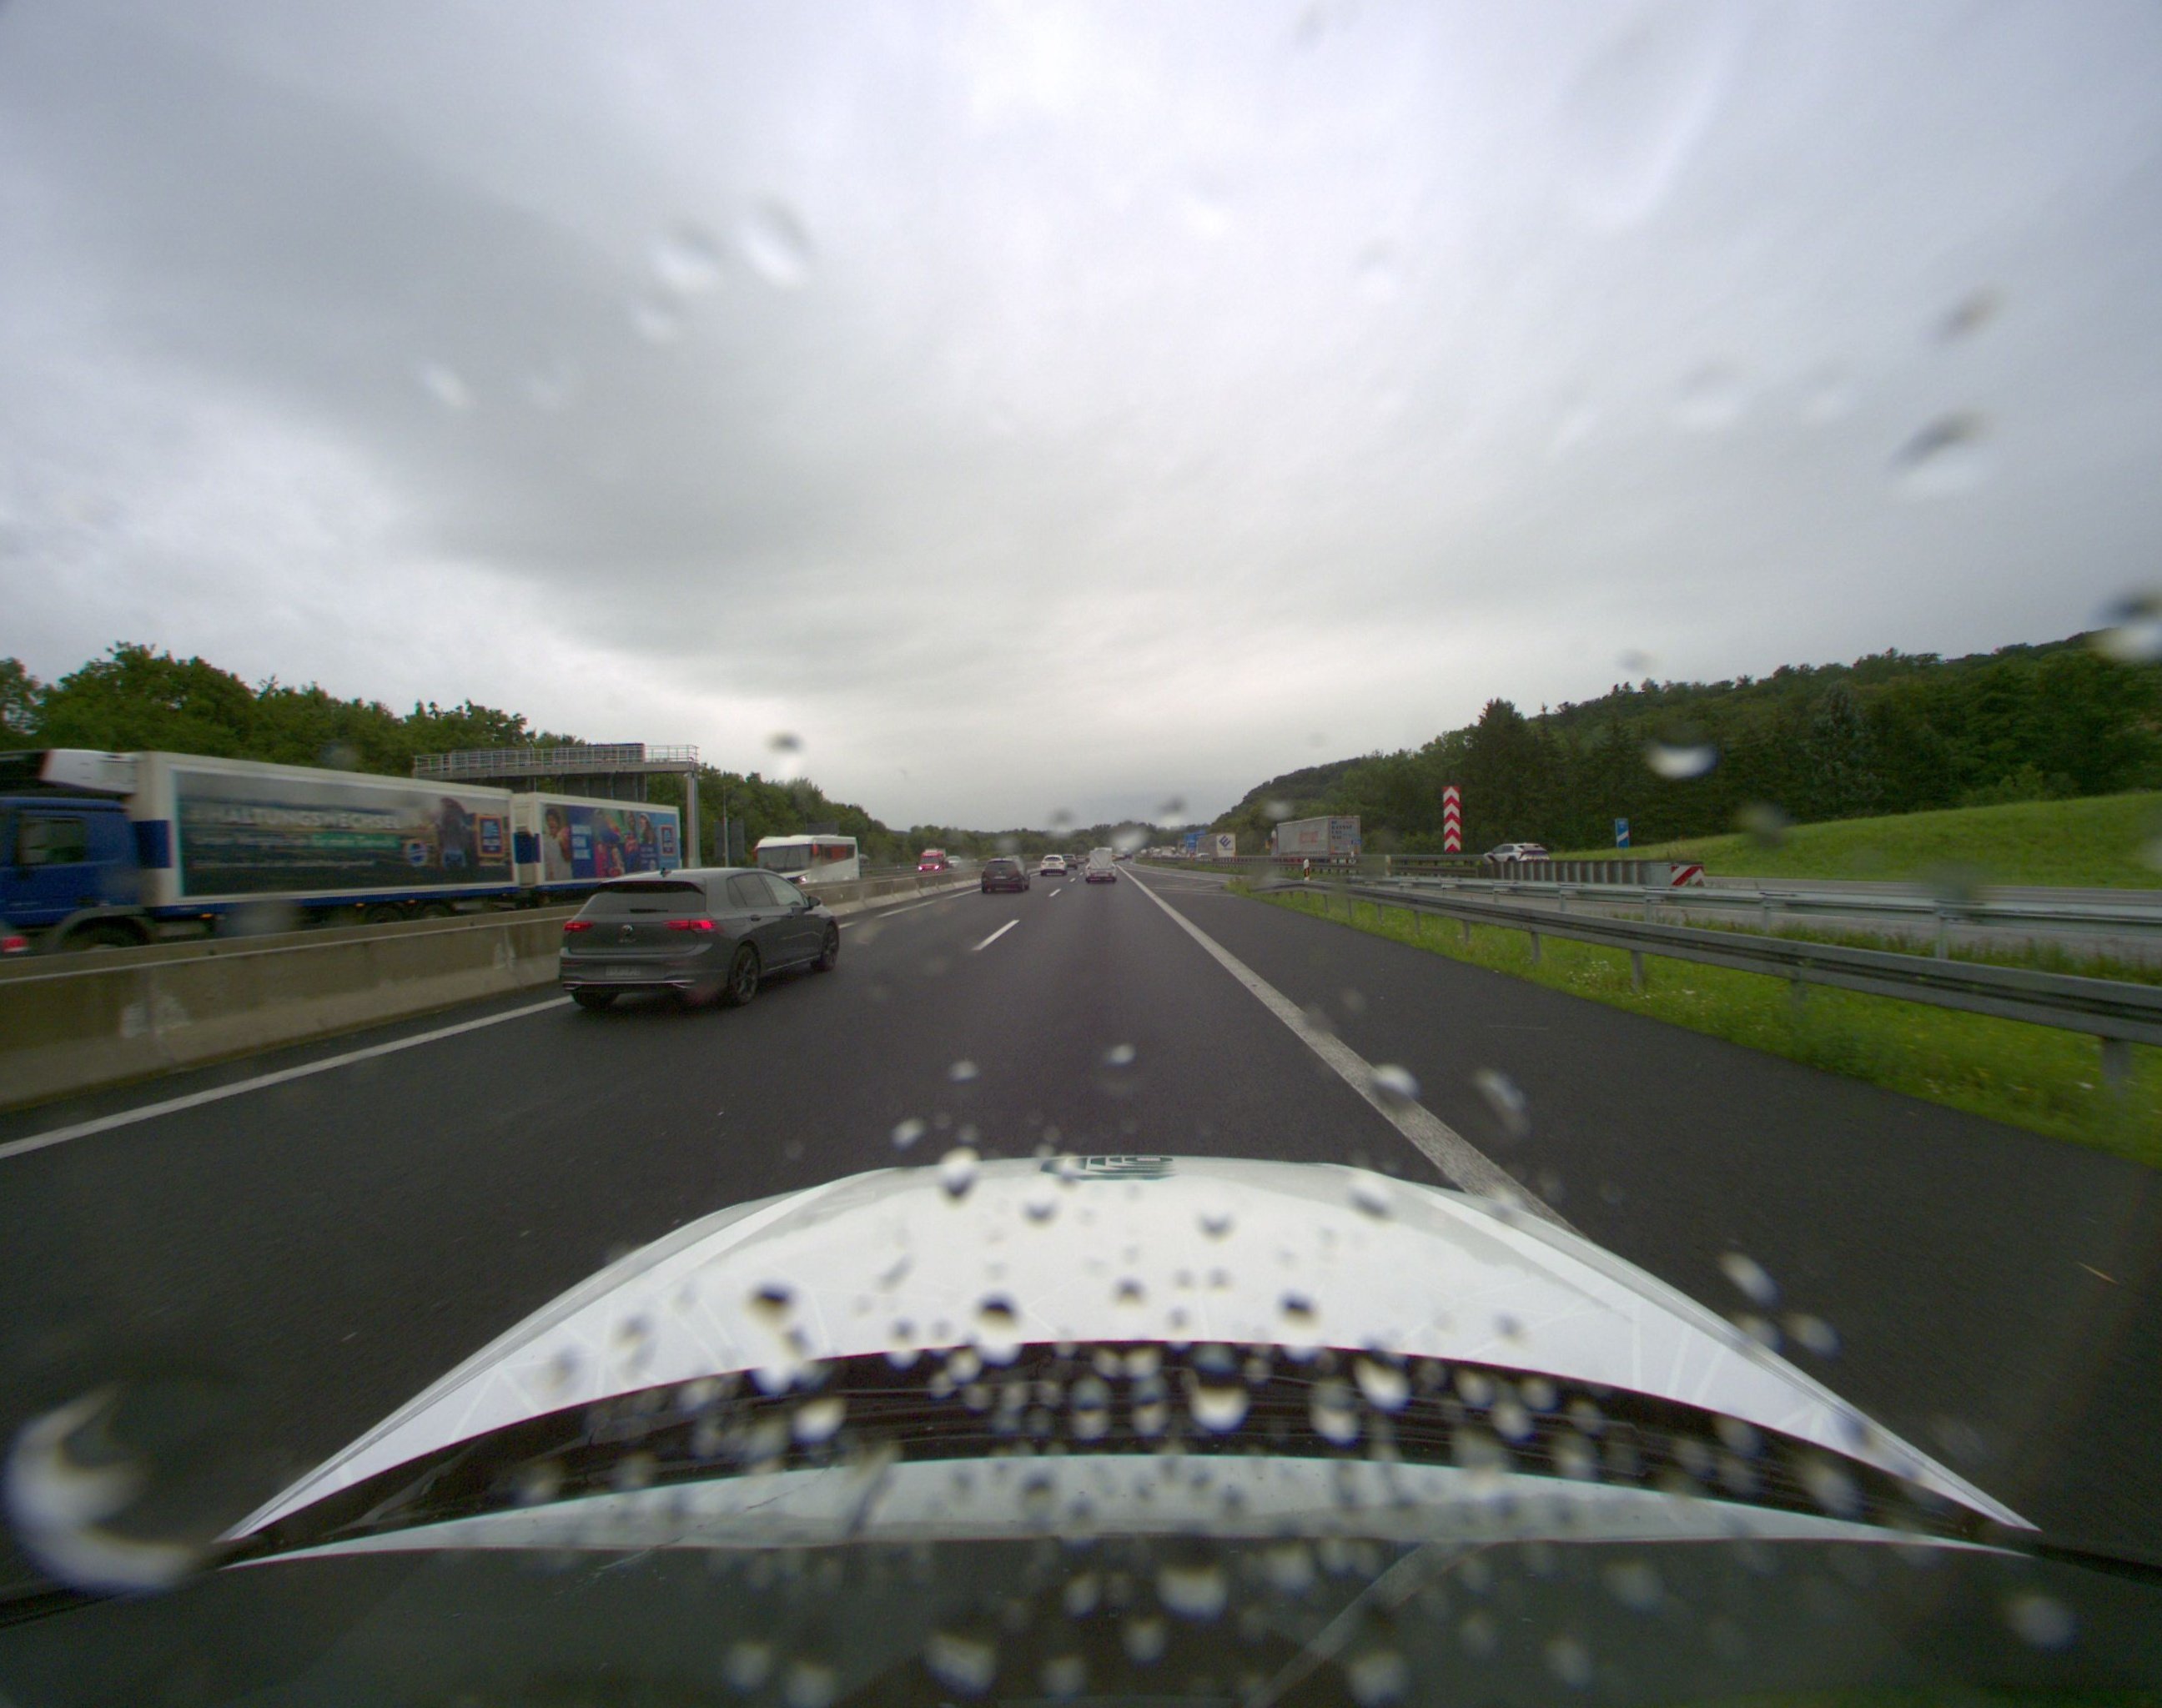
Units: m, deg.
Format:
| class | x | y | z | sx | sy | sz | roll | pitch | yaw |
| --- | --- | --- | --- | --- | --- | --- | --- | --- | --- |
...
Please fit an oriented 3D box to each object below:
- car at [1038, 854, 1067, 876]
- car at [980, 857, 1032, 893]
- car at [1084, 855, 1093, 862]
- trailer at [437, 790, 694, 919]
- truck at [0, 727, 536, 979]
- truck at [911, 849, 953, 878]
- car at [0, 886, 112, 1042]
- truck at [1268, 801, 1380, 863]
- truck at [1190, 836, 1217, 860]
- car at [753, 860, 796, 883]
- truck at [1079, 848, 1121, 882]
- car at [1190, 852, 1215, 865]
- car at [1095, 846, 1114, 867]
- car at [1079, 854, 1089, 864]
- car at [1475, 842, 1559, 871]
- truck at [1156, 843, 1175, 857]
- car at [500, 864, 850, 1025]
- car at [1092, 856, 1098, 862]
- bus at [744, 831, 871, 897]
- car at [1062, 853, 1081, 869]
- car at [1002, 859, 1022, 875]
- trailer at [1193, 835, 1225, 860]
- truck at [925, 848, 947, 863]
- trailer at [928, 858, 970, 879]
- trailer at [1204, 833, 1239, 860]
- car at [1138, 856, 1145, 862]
| class | x | y | z | sx | sy | sz | roll | pitch | yaw |
| --- | --- | --- | --- | --- | --- | --- | --- | --- | --- |
| car | -2.300 | 0.821 | 64.904 | 2.045 | 1.670 | 4.533 | -1 | 0 | -5 |
| car | -3.262 | 0.873 | 36.108 | 1.781 | 1.459 | 4.802 | -1 | 0 | 1 |
| car | 1.709 | 1.008 | 183.520 | 1.812 | 1.662 | 4.019 | -2 | 0 | 2 |
| trailer | -16.018 | 0.035 | 26.297 | 2.931 | 3.516 | 8.055 | 0 | 0 | 2 |
| truck | -16.324 | 0.005 | 16.694 | 2.797 | 3.525 | 10.646 | 0 | 0 | 2 |
| truck | -14.273 | 0.887 | 78.356 | 2.417 | 2.594 | 7.097 | -1 | 0 | 2 |
| car | -12.480 | 1.215 | 7.601 | 1.986 | 1.618 | 4.002 | -2 | 0 | 2 |
| truck | 20.176 | -1.570 | 69.533 | 3.811 | 4.540 | 16.869 | -1 | 0 | -2 |
| truck | 18.302 | -0.891 | 121.559 | 2.931 | 3.527 | 5.922 | 0 | 0 | -2 |
| car | -25.833 | 1.445 | 68.769 | 1.827 | 1.789 | 4.187 | -2 | 0 | 3 |
| truck | 1.158 | 0.634 | 47.444 | 2.233 | 1.839 | 6.587 | -1 | -1 | 2 |
| car | 15.323 | 0.580 | 103.129 | 1.990 | 1.616 | 5.071 | -2 | 0 | -4 |
| car | 3.126 | 0.296 | 108.791 | 2.324 | 2.725 | 6.539 | -1 | 0 | 0 |
| car | 0.554 | 0.950 | 148.712 | 1.732 | 1.794 | 4.001 | -1 | 0 | 1 |
| car | 24.141 | 0.136 | 45.336 | 1.814 | 1.504 | 5.028 | -2 | 0 | -2 |
| truck | 21.608 | -1.032 | 208.506 | 3.815 | 3.659 | 8.265 | 0 | 0 | -2 |
| car | -4.353 | 0.856 | 9.670 | 1.823 | 1.425 | 4.370 | -1 | 0 | 2 |
| car | 3.782 | 1.312 | 217.877 | 1.639 | 1.574 | 4.002 | 0 | 0 | 2 |
| bus | -11.734 | 0.412 | 35.899 | 2.531 | 2.586 | 8.274 | 0 | 0 | 2 |
| car | -1.037 | 0.779 | 93.526 | 1.968 | 1.703 | 4.803 | -1 | 0 | 1 |
| car | -9.421 | 1.800 | 111.334 | 1.985 | 2.013 | 5.103 | -2 | 0 | 3 |
| trailer | 18.451 | -0.908 | 117.505 | 2.931 | 3.527 | 8.411 | 0 | 0 | -3 |
| truck | -29.705 | 0.263 | 166.972 | 2.729 | 2.872 | 8.543 | -2 | 0 | 1 |
| trailer | -13.975 | 1.436 | 87.099 | 2.527 | 2.013 | 10.248 | -2 | 0 | 2 |
| trailer | 18.727 | -0.949 | 109.197 | 3.071 | 3.527 | 8.077 | 0 | 0 | -2 |
| car | 13.992 | 1.150 | 188.567 | 1.639 | 1.574 | 4.002 | 0 | 0 | 2 |
